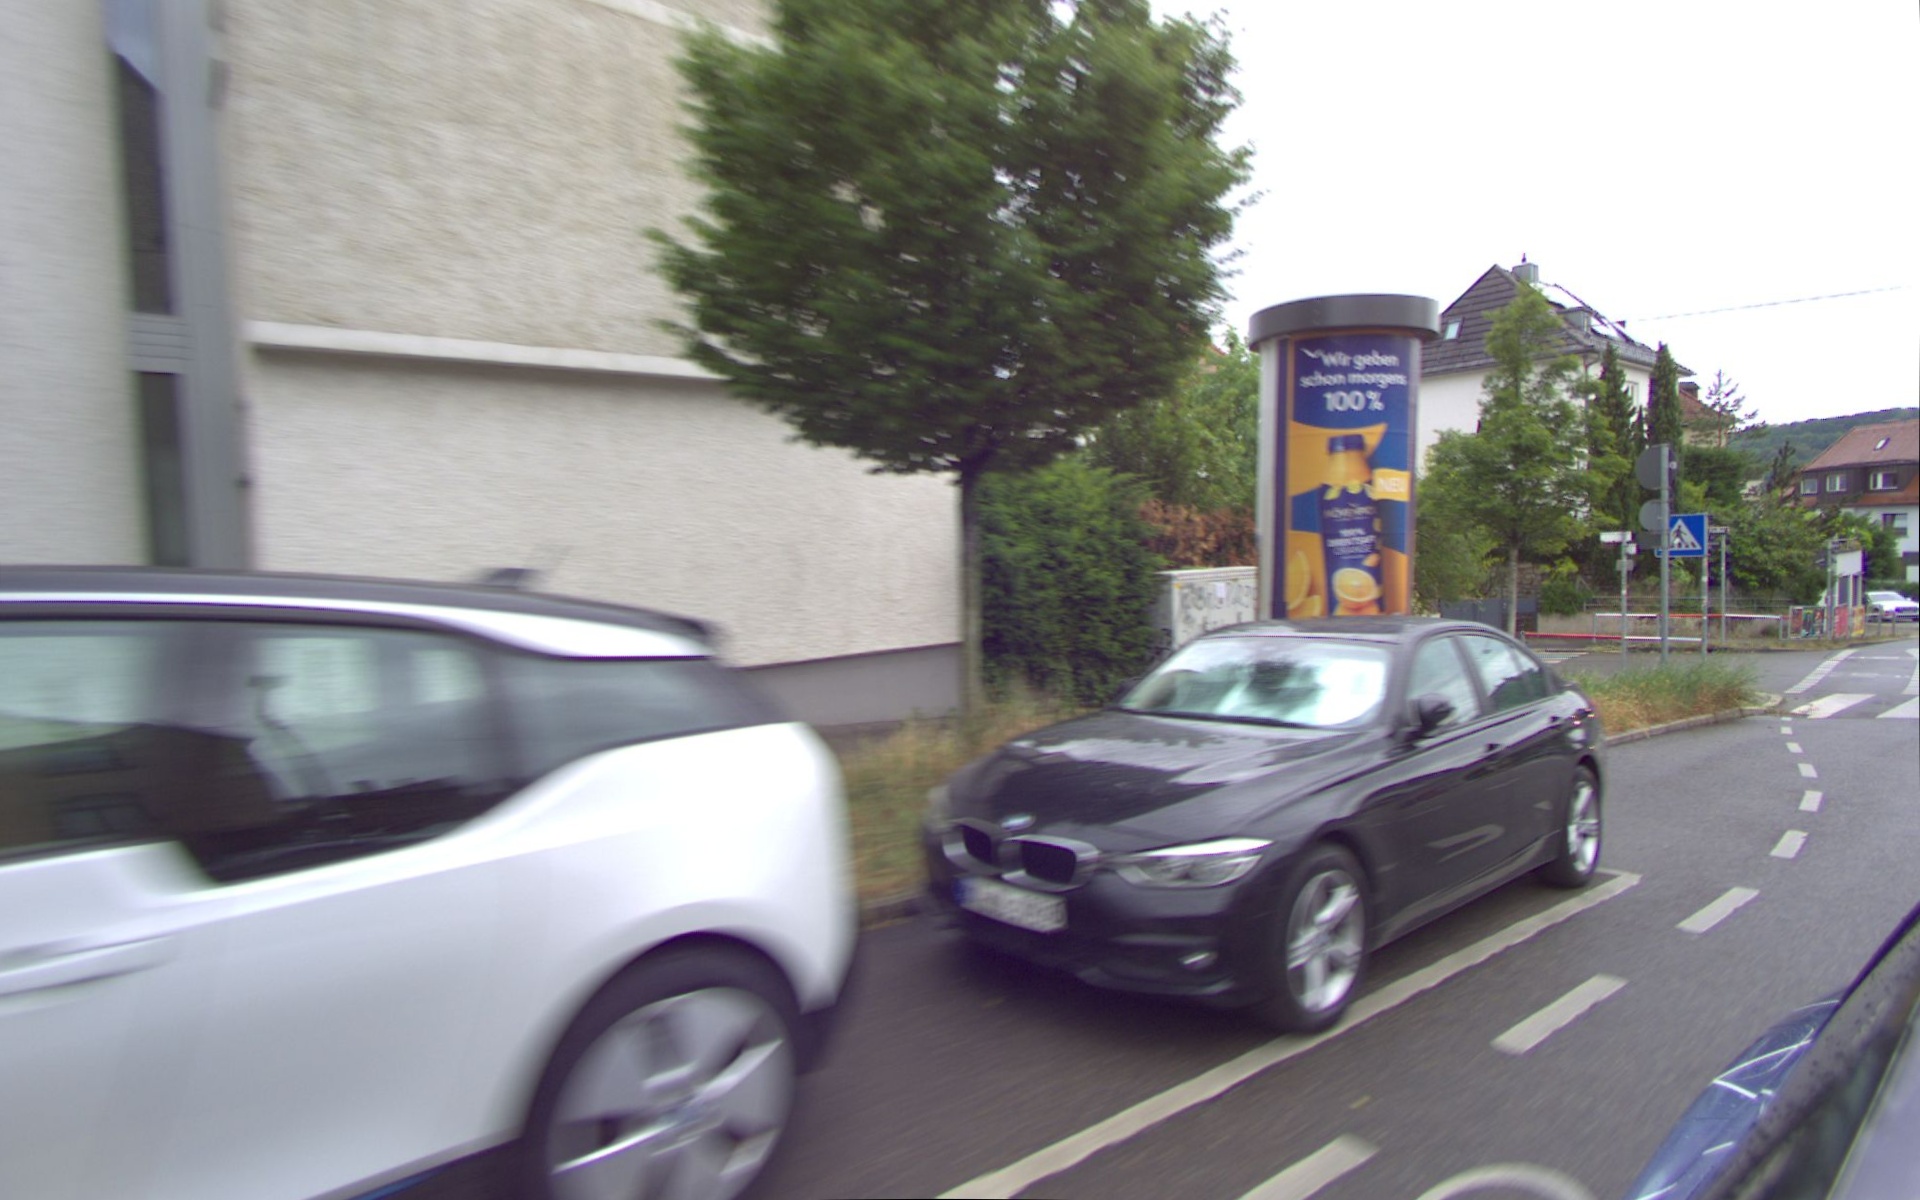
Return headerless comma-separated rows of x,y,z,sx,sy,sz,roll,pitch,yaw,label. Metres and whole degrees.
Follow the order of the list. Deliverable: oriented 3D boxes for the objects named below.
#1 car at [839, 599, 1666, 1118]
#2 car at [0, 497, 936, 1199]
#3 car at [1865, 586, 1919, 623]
1.869,0.733,5.154,4.797,1.457,1.781,0,0,-42,car
-2.158,0.661,2.079,4.047,1.628,1.732,0,0,-40,car
51.235,0.245,54.965,1.996,1.927,4.058,1,1,26,car
